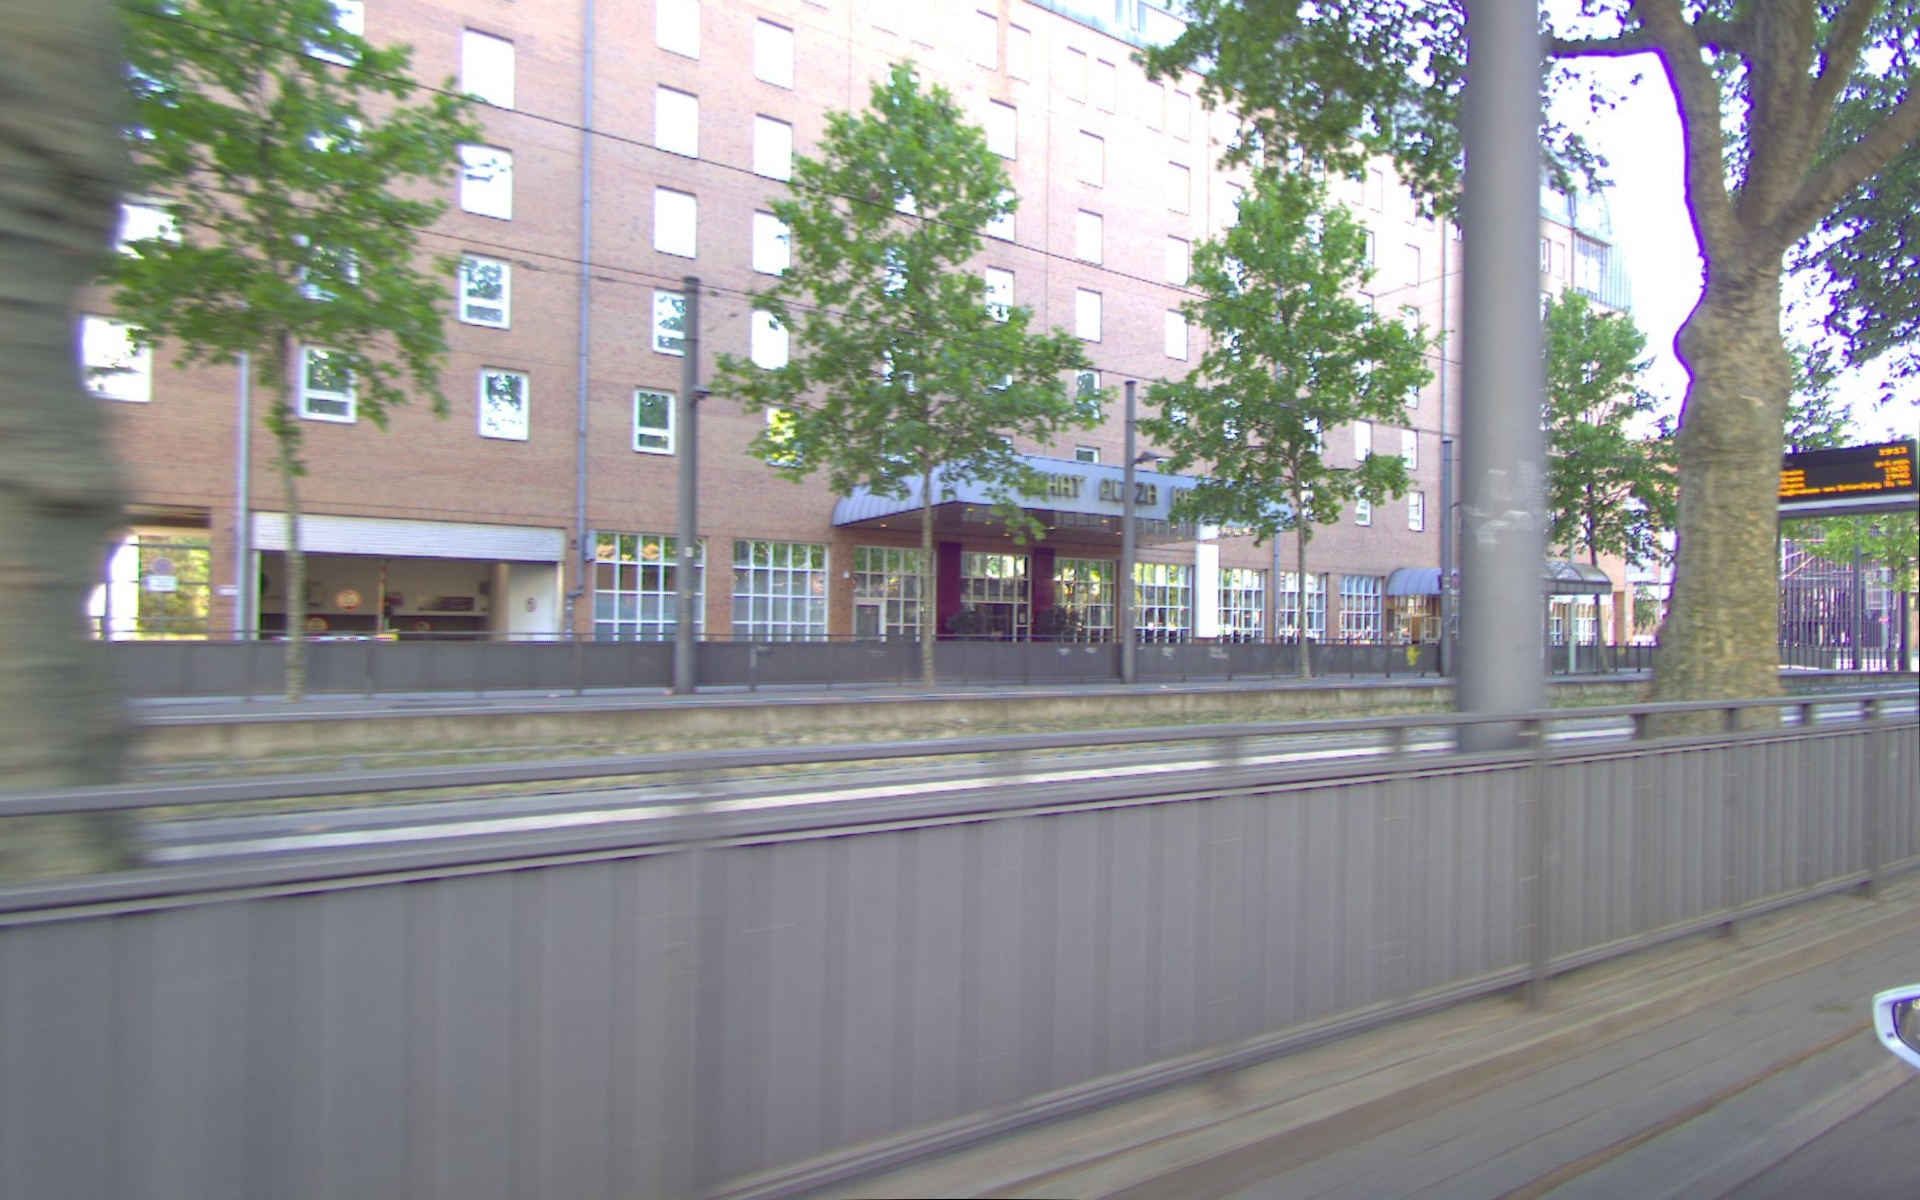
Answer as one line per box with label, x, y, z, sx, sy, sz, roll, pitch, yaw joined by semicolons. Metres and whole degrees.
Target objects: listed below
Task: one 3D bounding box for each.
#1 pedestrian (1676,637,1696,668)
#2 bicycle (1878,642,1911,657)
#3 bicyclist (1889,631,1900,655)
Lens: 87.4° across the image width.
pedestrian;38.774;2.808;53.660;0.718;1.606;0.585;2;1;-35
bicycle;80.475;4.257;86.487;2.056;1.255;0.453;0;-2;21
bicyclist;80.477;3.688;86.508;0.551;2.087;0.451;0;-1;22
